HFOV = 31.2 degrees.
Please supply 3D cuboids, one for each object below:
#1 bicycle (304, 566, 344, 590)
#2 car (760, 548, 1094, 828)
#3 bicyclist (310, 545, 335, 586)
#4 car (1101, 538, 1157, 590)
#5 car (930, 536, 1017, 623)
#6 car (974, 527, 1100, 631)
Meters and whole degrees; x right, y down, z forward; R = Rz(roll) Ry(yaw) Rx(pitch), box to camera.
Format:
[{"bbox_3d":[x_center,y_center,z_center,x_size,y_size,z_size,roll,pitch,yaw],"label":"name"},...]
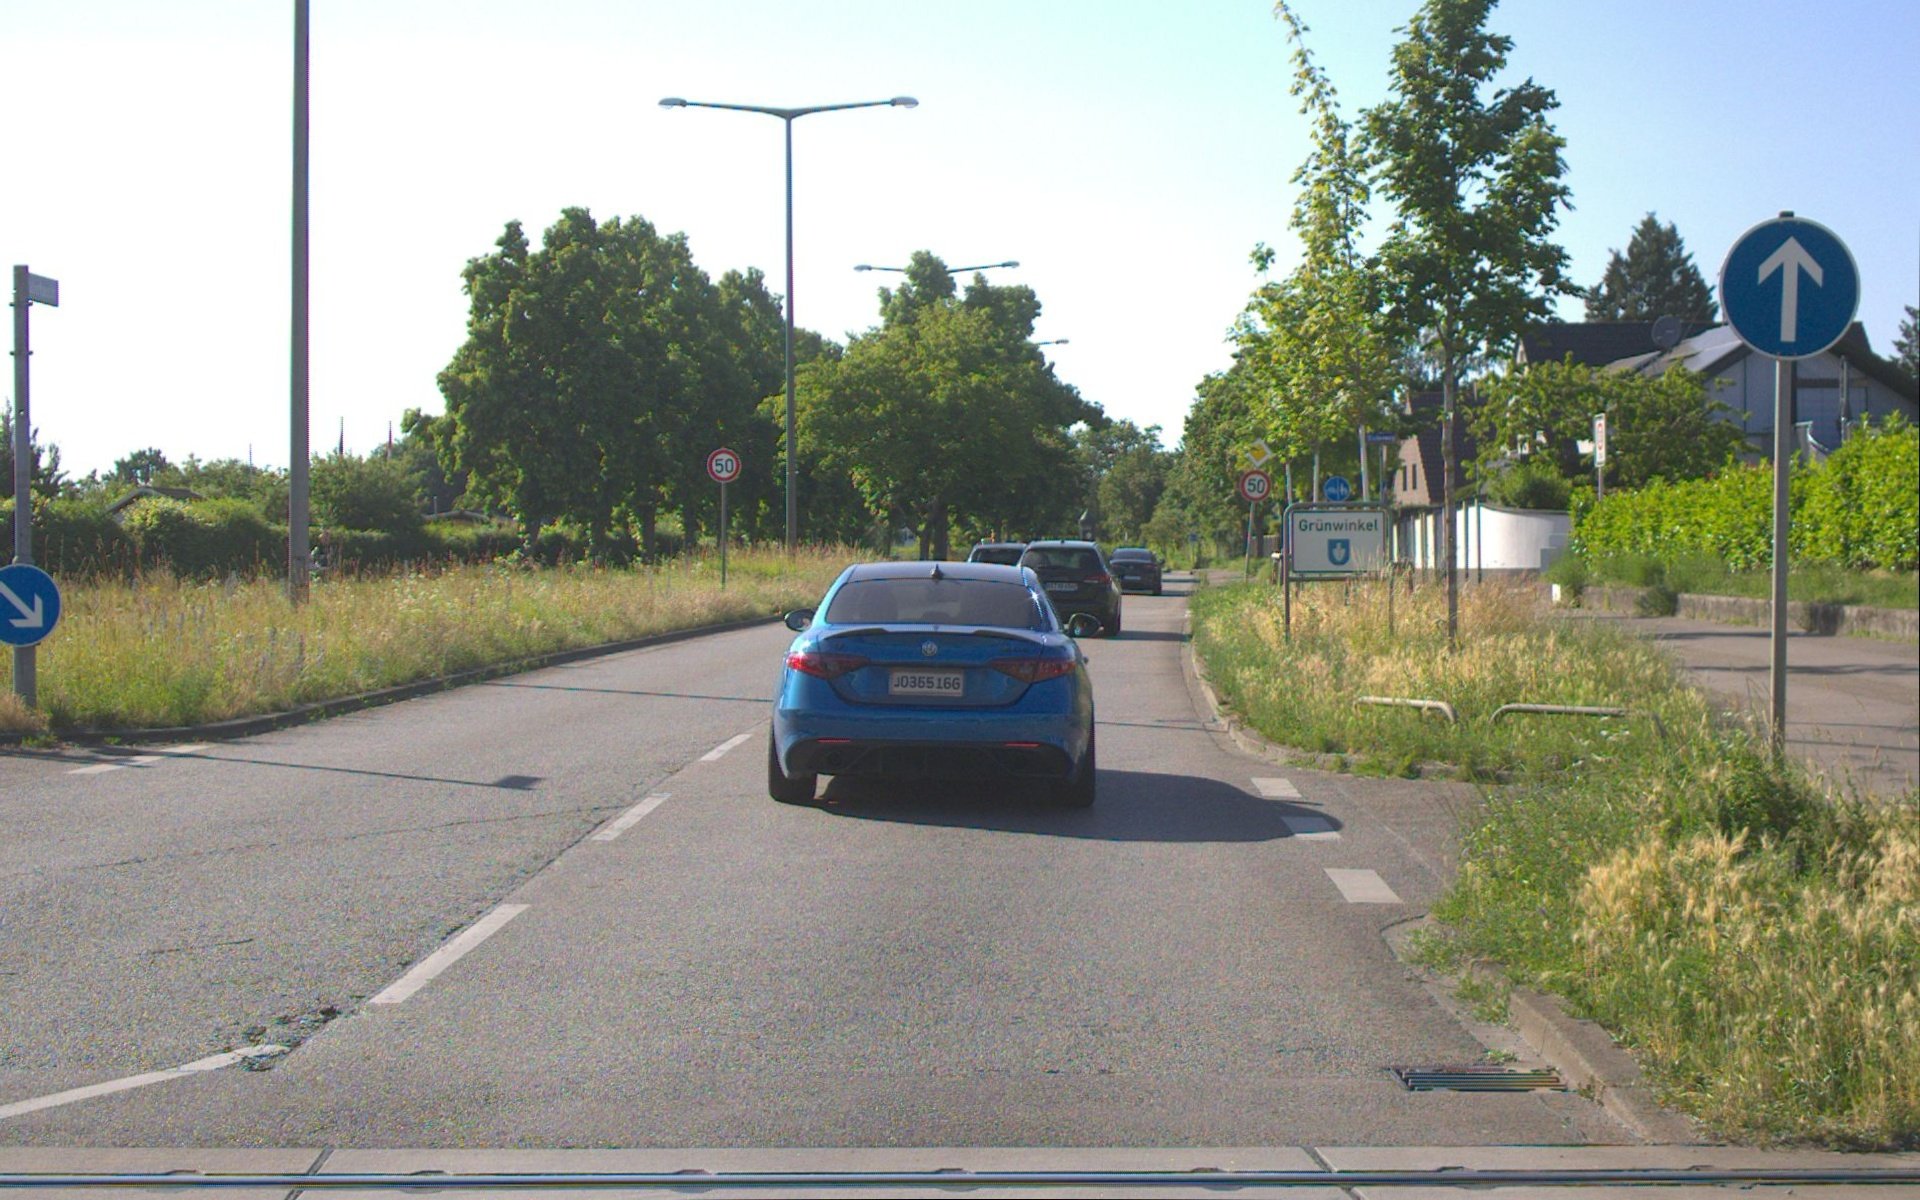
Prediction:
[{"bbox_3d":[-19.542,-0.669,105.589,0.565,0.693,1.874,1,1,11],"label":"bicycle"},{"bbox_3d":[-0.113,0.458,21.176,1.838,1.469,4.184,1,2,2],"label":"car"},{"bbox_3d":[-19.564,-1.071,105.461,0.583,1.252,0.576,1,1,11],"label":"bicyclist"},{"bbox_3d":[5.313,-1.136,107.578,1.661,1.574,3.808,1,1,4],"label":"car"},{"bbox_3d":[0.344,-0.508,81.442,1.793,2.007,4.000,1,1,4],"label":"car"},{"bbox_3d":[1.193,-0.356,54.950,1.915,1.574,4.182,0,1,0],"label":"car"}]
